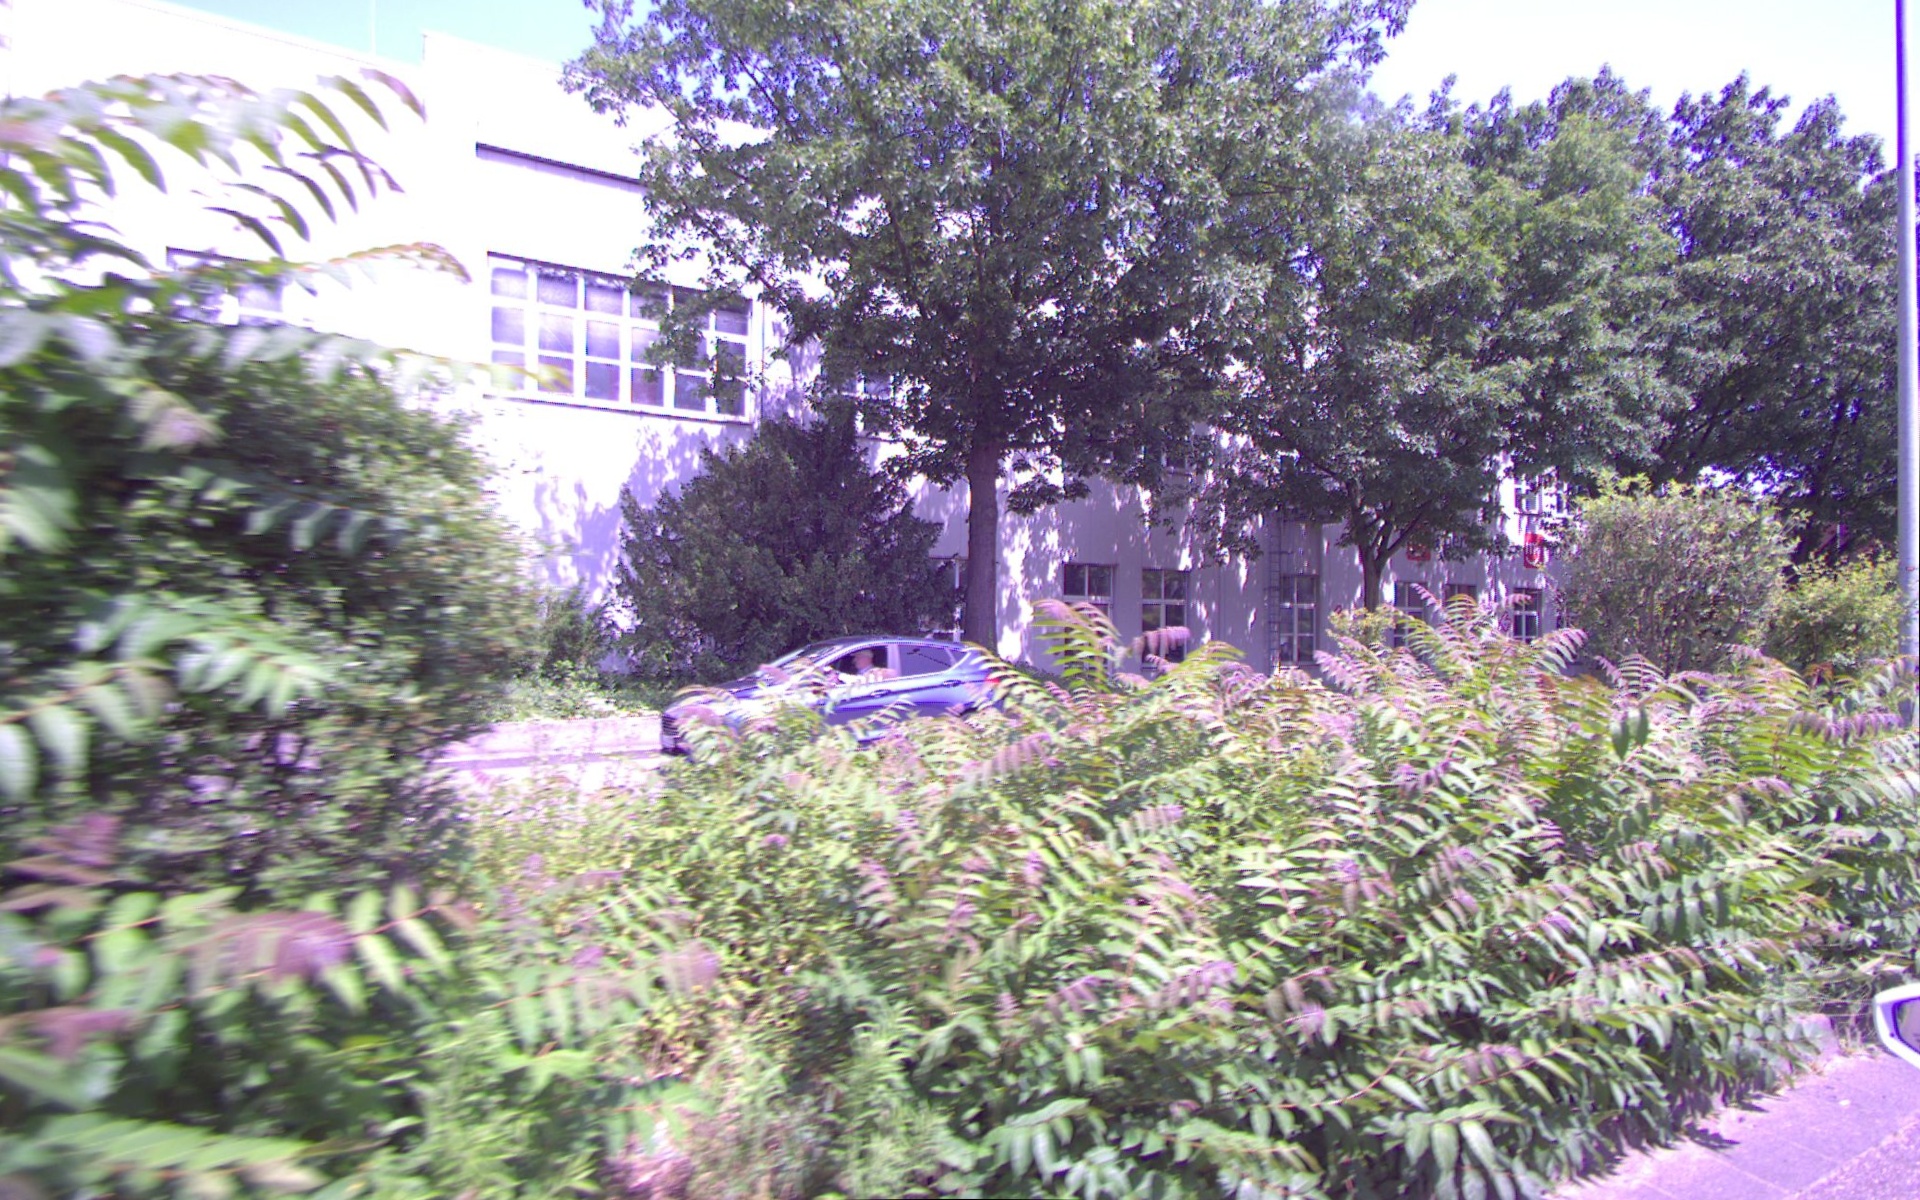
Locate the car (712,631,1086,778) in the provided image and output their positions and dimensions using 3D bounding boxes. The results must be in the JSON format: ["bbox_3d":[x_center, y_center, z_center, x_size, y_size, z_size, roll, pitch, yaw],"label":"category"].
[{"bbox_3d":[-0.673,1.118,11.898,4.087,1.468,1.771,1,-2,-30],"label":"car"}]

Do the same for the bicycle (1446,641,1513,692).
[{"bbox_3d":[12.141,1.554,23.459,1.741,1.134,0.519,2,-1,-30],"label":"bicycle"}]

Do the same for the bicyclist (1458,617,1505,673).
[{"bbox_3d":[12.186,1.040,23.470,0.803,1.269,0.641,2,-1,-29],"label":"bicyclist"}]
